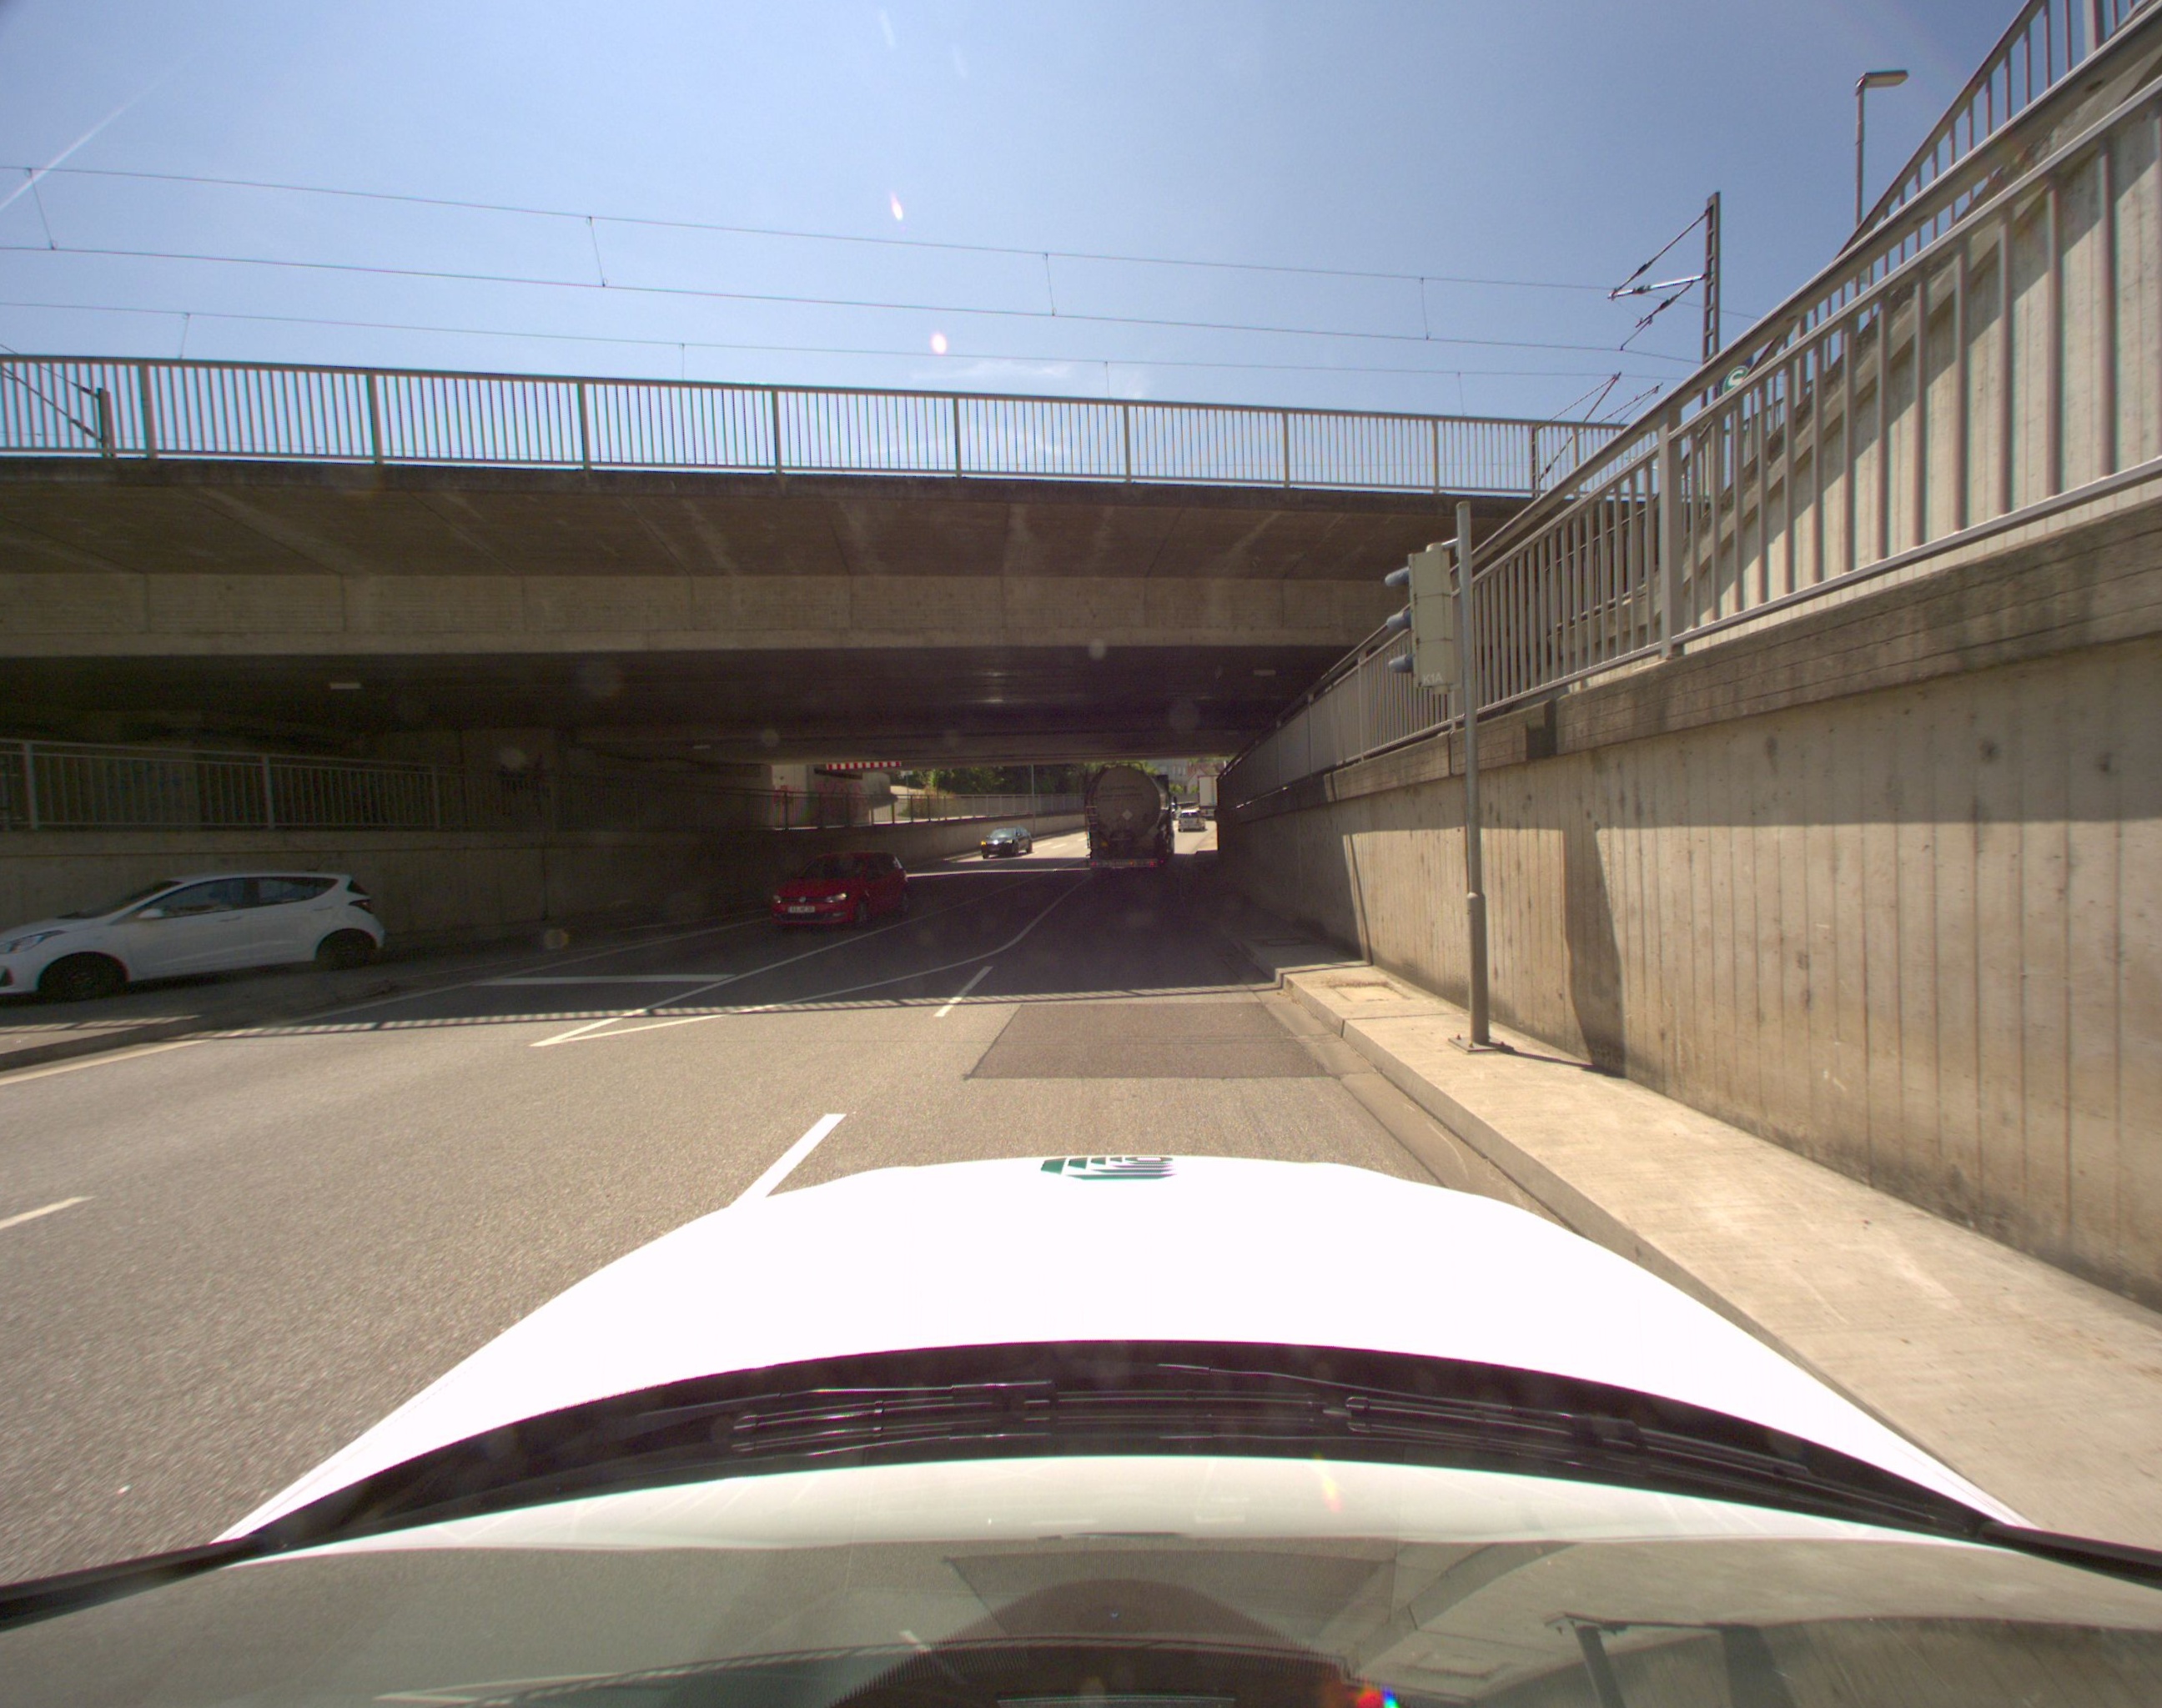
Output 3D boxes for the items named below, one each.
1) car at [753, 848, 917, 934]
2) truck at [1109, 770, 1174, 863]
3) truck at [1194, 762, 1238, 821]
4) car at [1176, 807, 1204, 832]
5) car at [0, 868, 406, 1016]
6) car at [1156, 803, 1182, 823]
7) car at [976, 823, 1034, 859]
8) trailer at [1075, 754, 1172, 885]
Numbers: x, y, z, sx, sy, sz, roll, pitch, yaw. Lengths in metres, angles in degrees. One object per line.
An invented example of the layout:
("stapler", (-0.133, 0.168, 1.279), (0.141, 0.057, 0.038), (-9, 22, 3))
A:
("car", (-4.789, 0.654, 16.443), (1.734, 1.464, 3.833), (-1, 1, 7))
("truck", (3.058, -1.831, 39.517), (2.720, 4.063, 6.545), (-1, 3, 7))
("truck", (12.626, -5.715, 75.415), (3.058, 4.998, 10.126), (0, 4, 15))
("car", (7.994, -2.561, 59.607), (1.870, 1.639, 4.013), (-1, 5, 10))
("car", (-12.038, 1.053, 11.161), (1.763, 1.466, 3.857), (-3, 1, 29))
("car", (8.257, -3.847, 75.825), (1.779, 1.683, 4.019), (1, 5, 15))
("car", (-3.930, -0.717, 42.792), (1.885, 1.529, 4.014), (-3, 4, 11))
("trailer", (2.088, -1.422, 32.186), (2.720, 4.063, 13.345), (-1, 3, 7))
